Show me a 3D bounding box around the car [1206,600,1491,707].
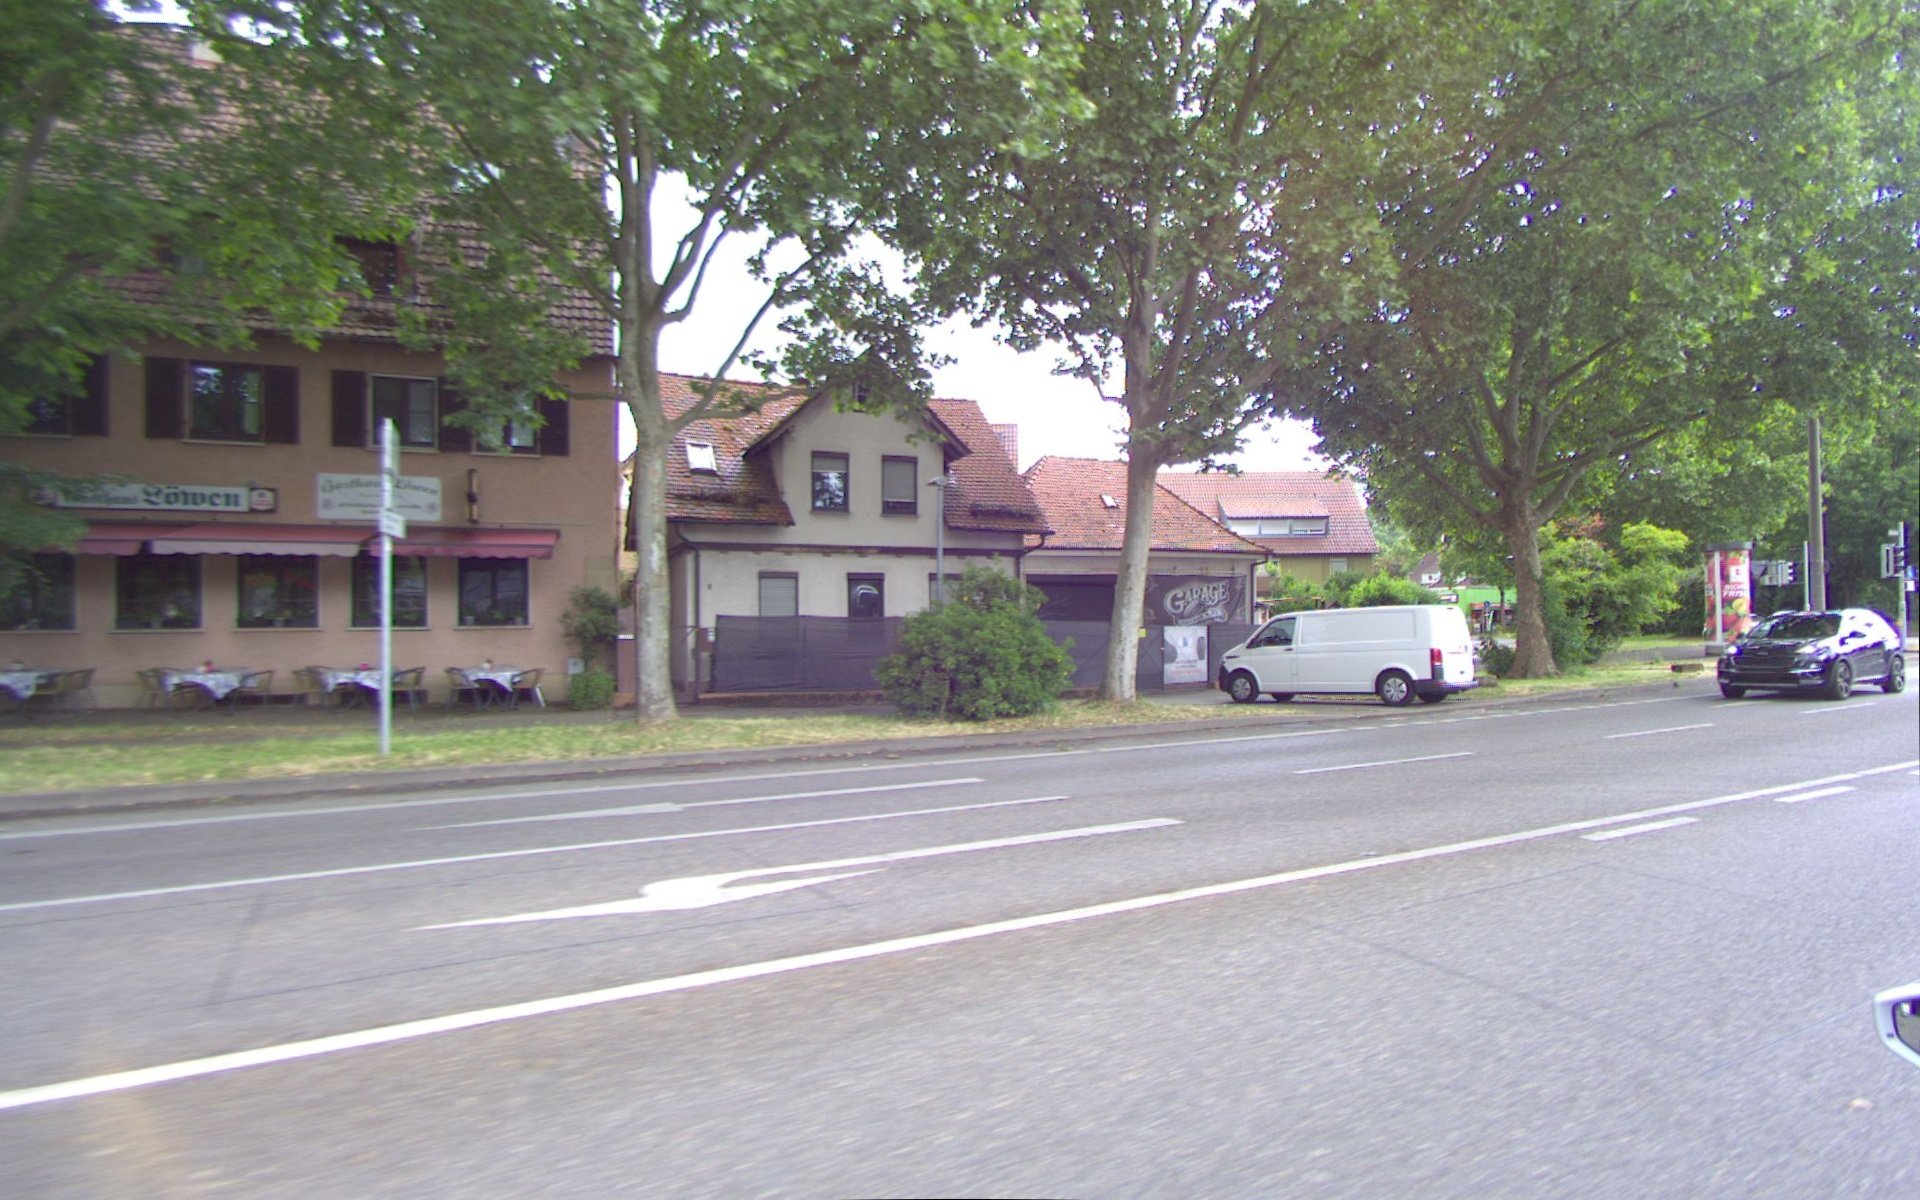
[{"bbox_3d":[7.975,1.148,21.095,2.069,1.956,5.180,1,-4,-42],"label":"car"}]

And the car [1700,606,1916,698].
[{"bbox_3d":[16.509,0.973,19.526,4.363,1.607,1.789,0,-4,-30],"label":"car"}]

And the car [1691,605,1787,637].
[{"bbox_3d":[39.269,1.054,50.733,1.790,1.499,3.855,-1,-1,-1],"label":"car"}]
